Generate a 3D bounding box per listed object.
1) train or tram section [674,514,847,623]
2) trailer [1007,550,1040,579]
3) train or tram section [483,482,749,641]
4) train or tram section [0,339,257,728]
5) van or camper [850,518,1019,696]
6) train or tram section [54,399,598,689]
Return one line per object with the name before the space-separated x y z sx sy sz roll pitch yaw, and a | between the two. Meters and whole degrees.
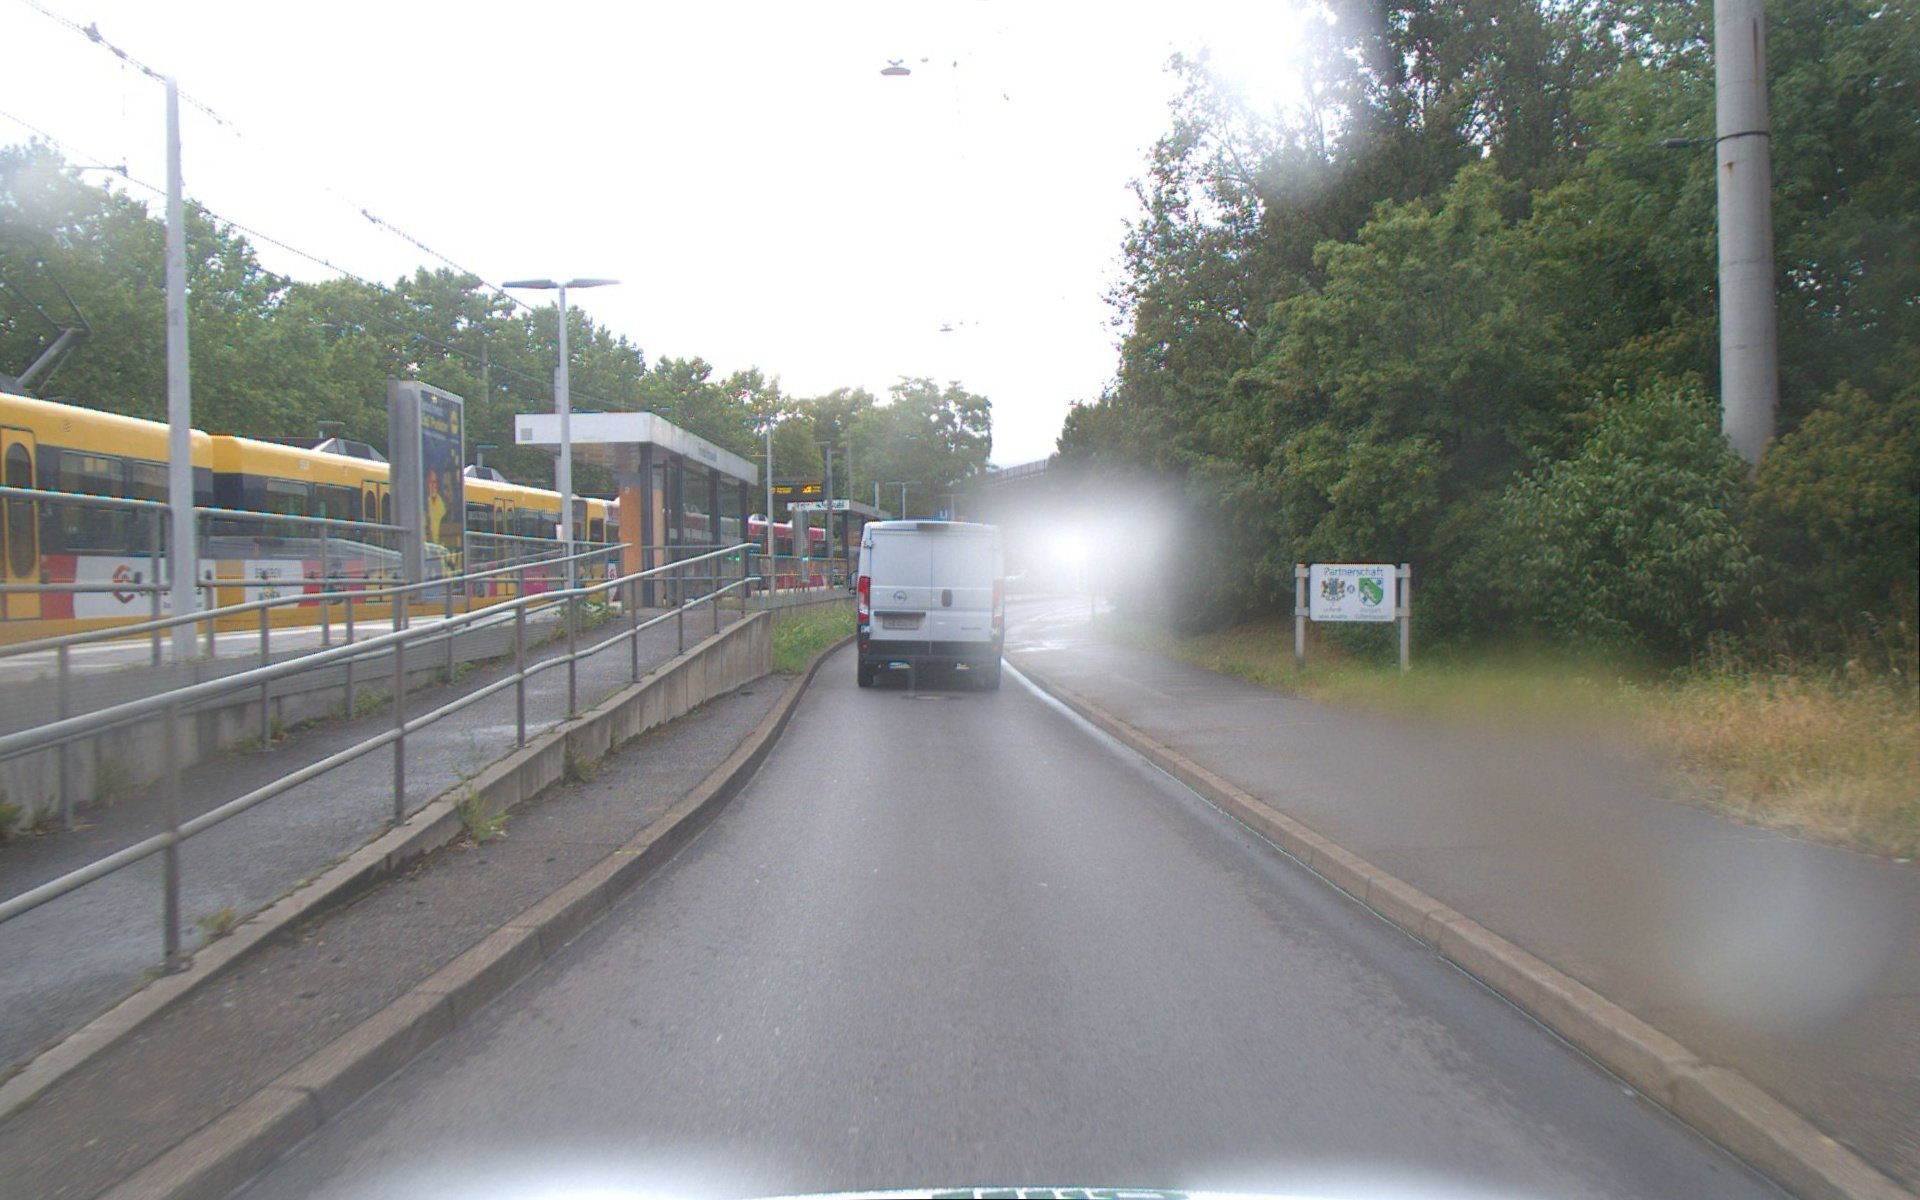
train or tram section | -8.170 -1.213 71.689 2.807 4.030 19.346 2 0 7
trailer | 6.202 -3.440 162.054 1.963 2.773 4.102 0 0 -18
train or tram section | -10.124 -1.049 52.341 2.807 4.040 19.342 2 0 5
train or tram section | -11.370 -0.692 13.813 2.809 4.042 19.329 1 0 0
van or camper | -0.487 0.075 24.205 2.156 2.292 4.680 2 0 -4
train or tram section | -11.082 -0.859 33.034 2.808 4.023 19.335 2 0 2
